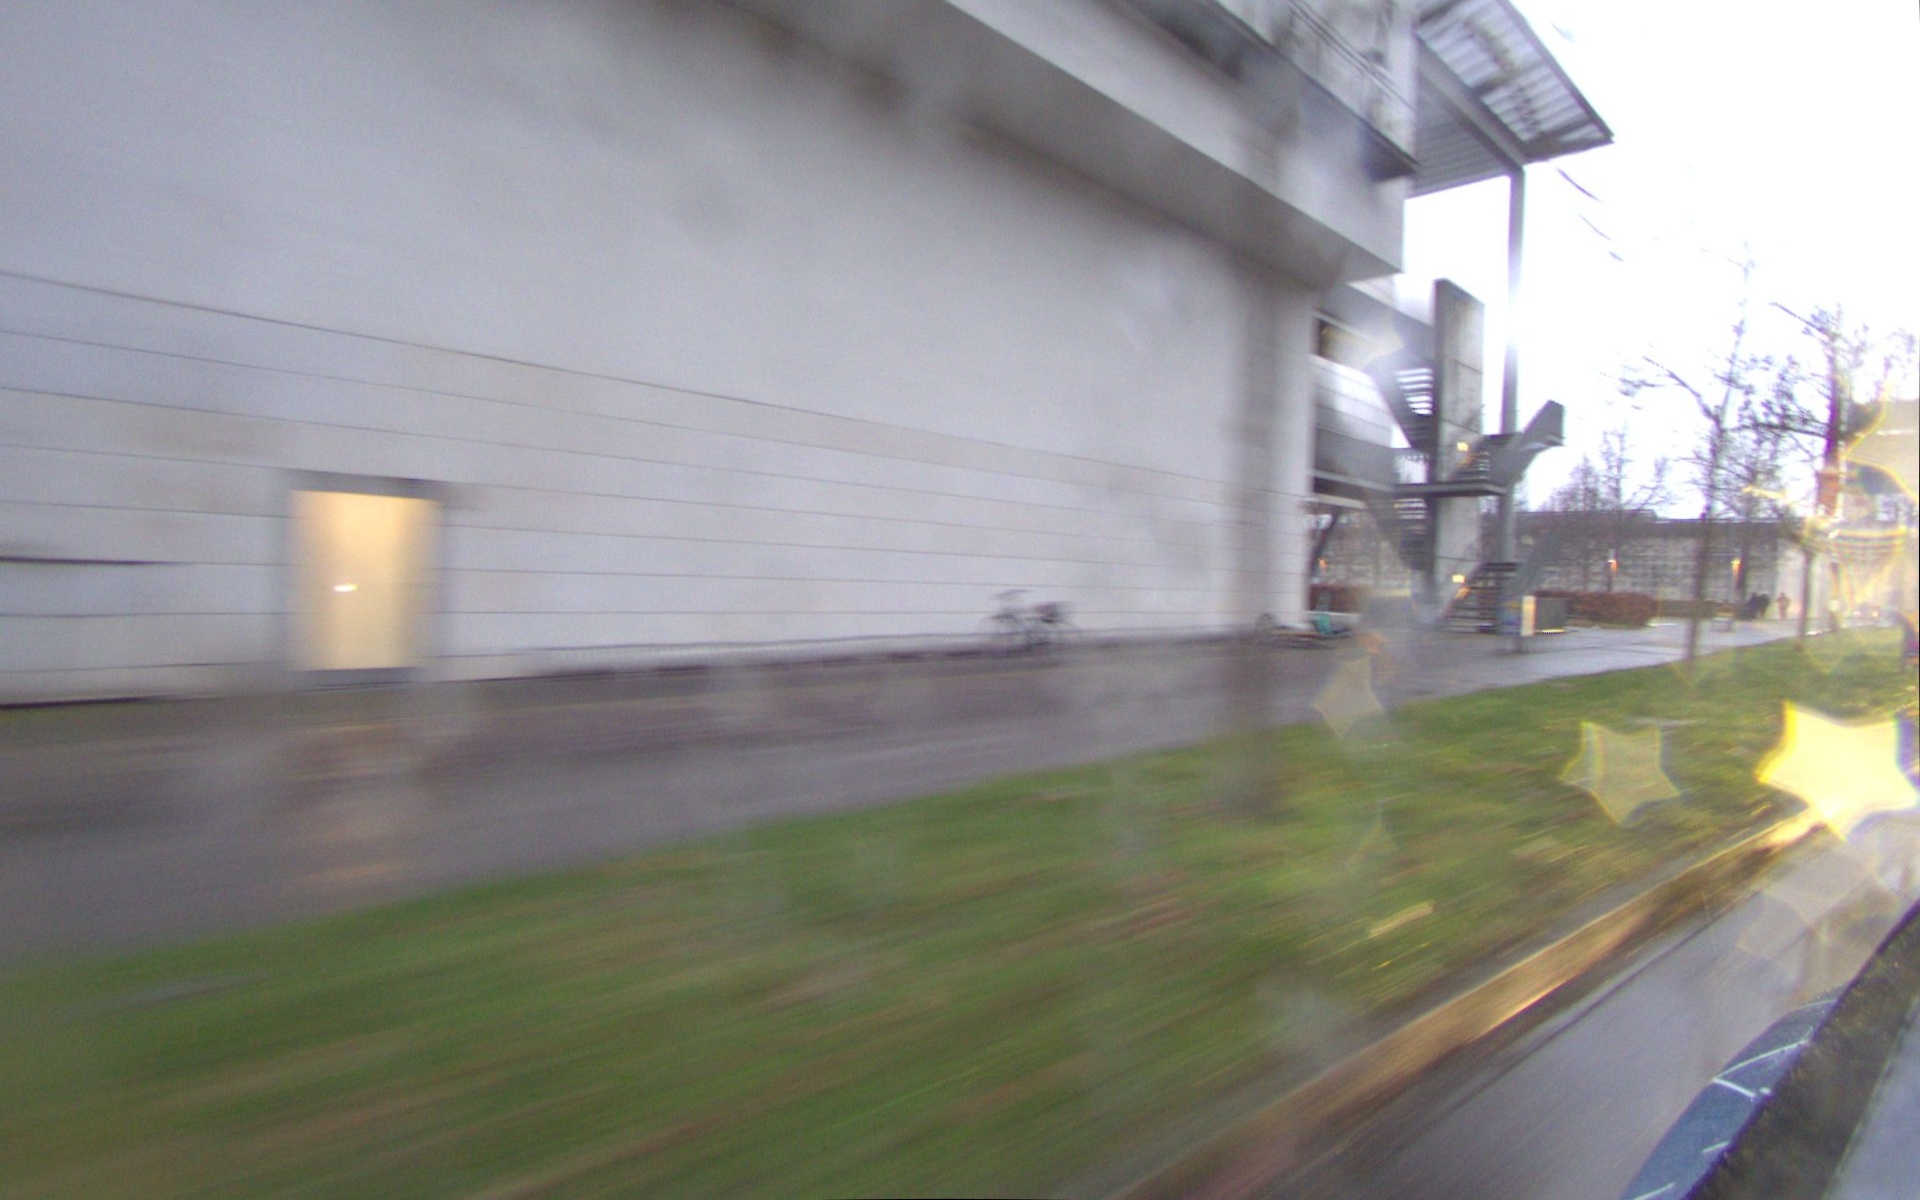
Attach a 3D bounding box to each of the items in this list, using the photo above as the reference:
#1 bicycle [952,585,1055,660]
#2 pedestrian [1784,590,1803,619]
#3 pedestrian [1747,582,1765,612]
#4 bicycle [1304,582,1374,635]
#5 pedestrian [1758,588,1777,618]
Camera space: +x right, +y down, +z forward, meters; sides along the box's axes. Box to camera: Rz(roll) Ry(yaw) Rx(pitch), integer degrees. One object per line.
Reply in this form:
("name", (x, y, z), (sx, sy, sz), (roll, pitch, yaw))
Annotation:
("bicycle", (0.654, 0.324, 15.838), (1.810, 1.065, 0.390), (3, 2, 45))
("pedestrian", (47.167, 0.262, 57.252), (0.602, 1.632, 0.675), (0, -1, -30))
("pedestrian", (47.944, -0.185, 60.925), (0.602, 1.800, 0.675), (0, -1, -30))
("bicycle", (9.346, 0.209, 24.978), (1.707, 1.301, 0.412), (0, -1, -17))
("pedestrian", (45.189, 0.161, 56.639), (0.602, 1.646, 0.675), (0, -1, -29))
